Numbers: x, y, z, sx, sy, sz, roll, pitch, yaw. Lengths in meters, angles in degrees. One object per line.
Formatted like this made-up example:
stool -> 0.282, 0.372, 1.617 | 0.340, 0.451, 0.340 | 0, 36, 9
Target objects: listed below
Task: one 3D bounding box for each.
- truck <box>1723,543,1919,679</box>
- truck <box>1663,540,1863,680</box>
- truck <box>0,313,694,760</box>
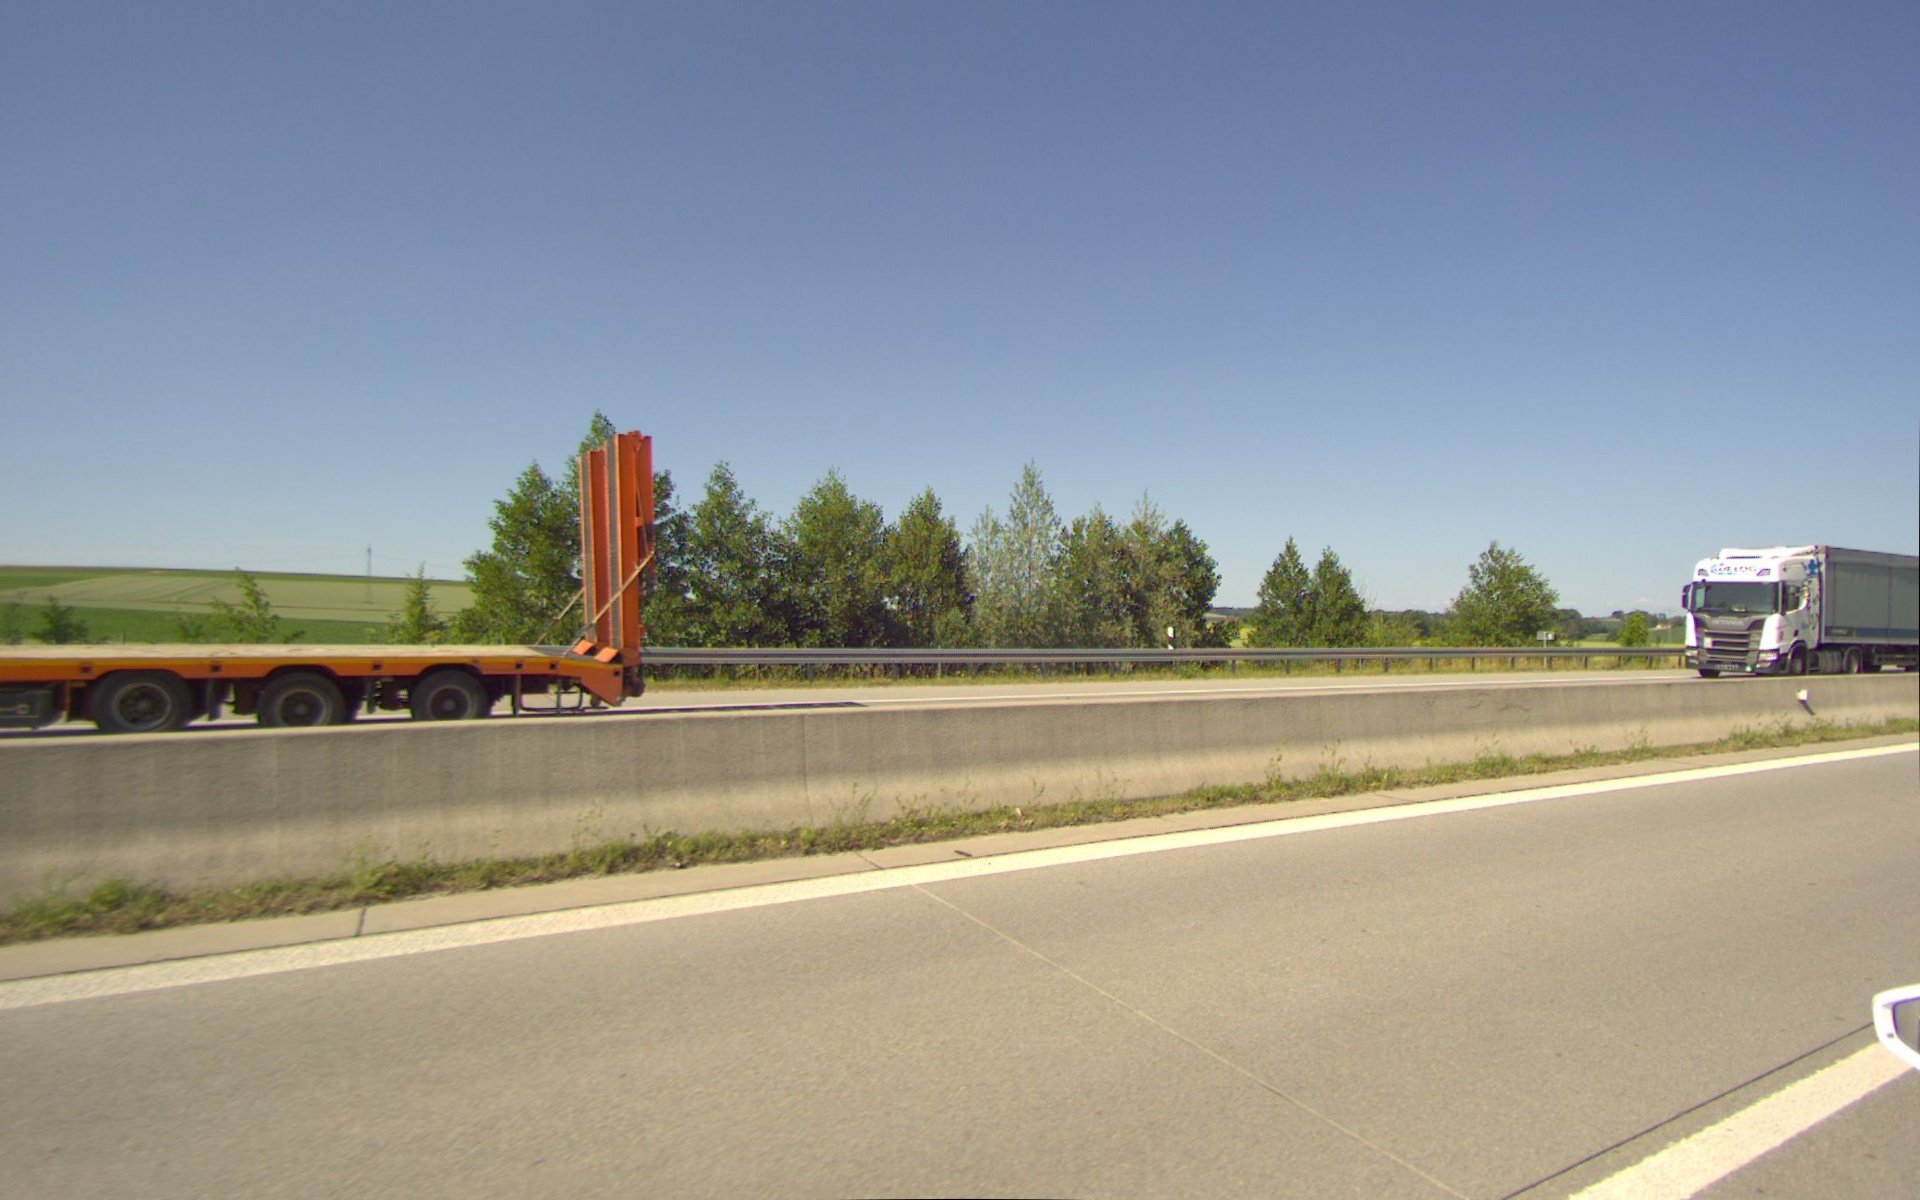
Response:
truck -> 31.311, 0.521, 34.708 | 13.705, 4.061, 2.846 | 2, -1, -30
truck -> 24.694, 0.378, 30.859 | 5.911, 3.924, 2.848 | 2, -1, -30
truck -> -11.290, -0.626, 9.308 | 16.917, 4.068, 2.854 | 2, -1, -31
